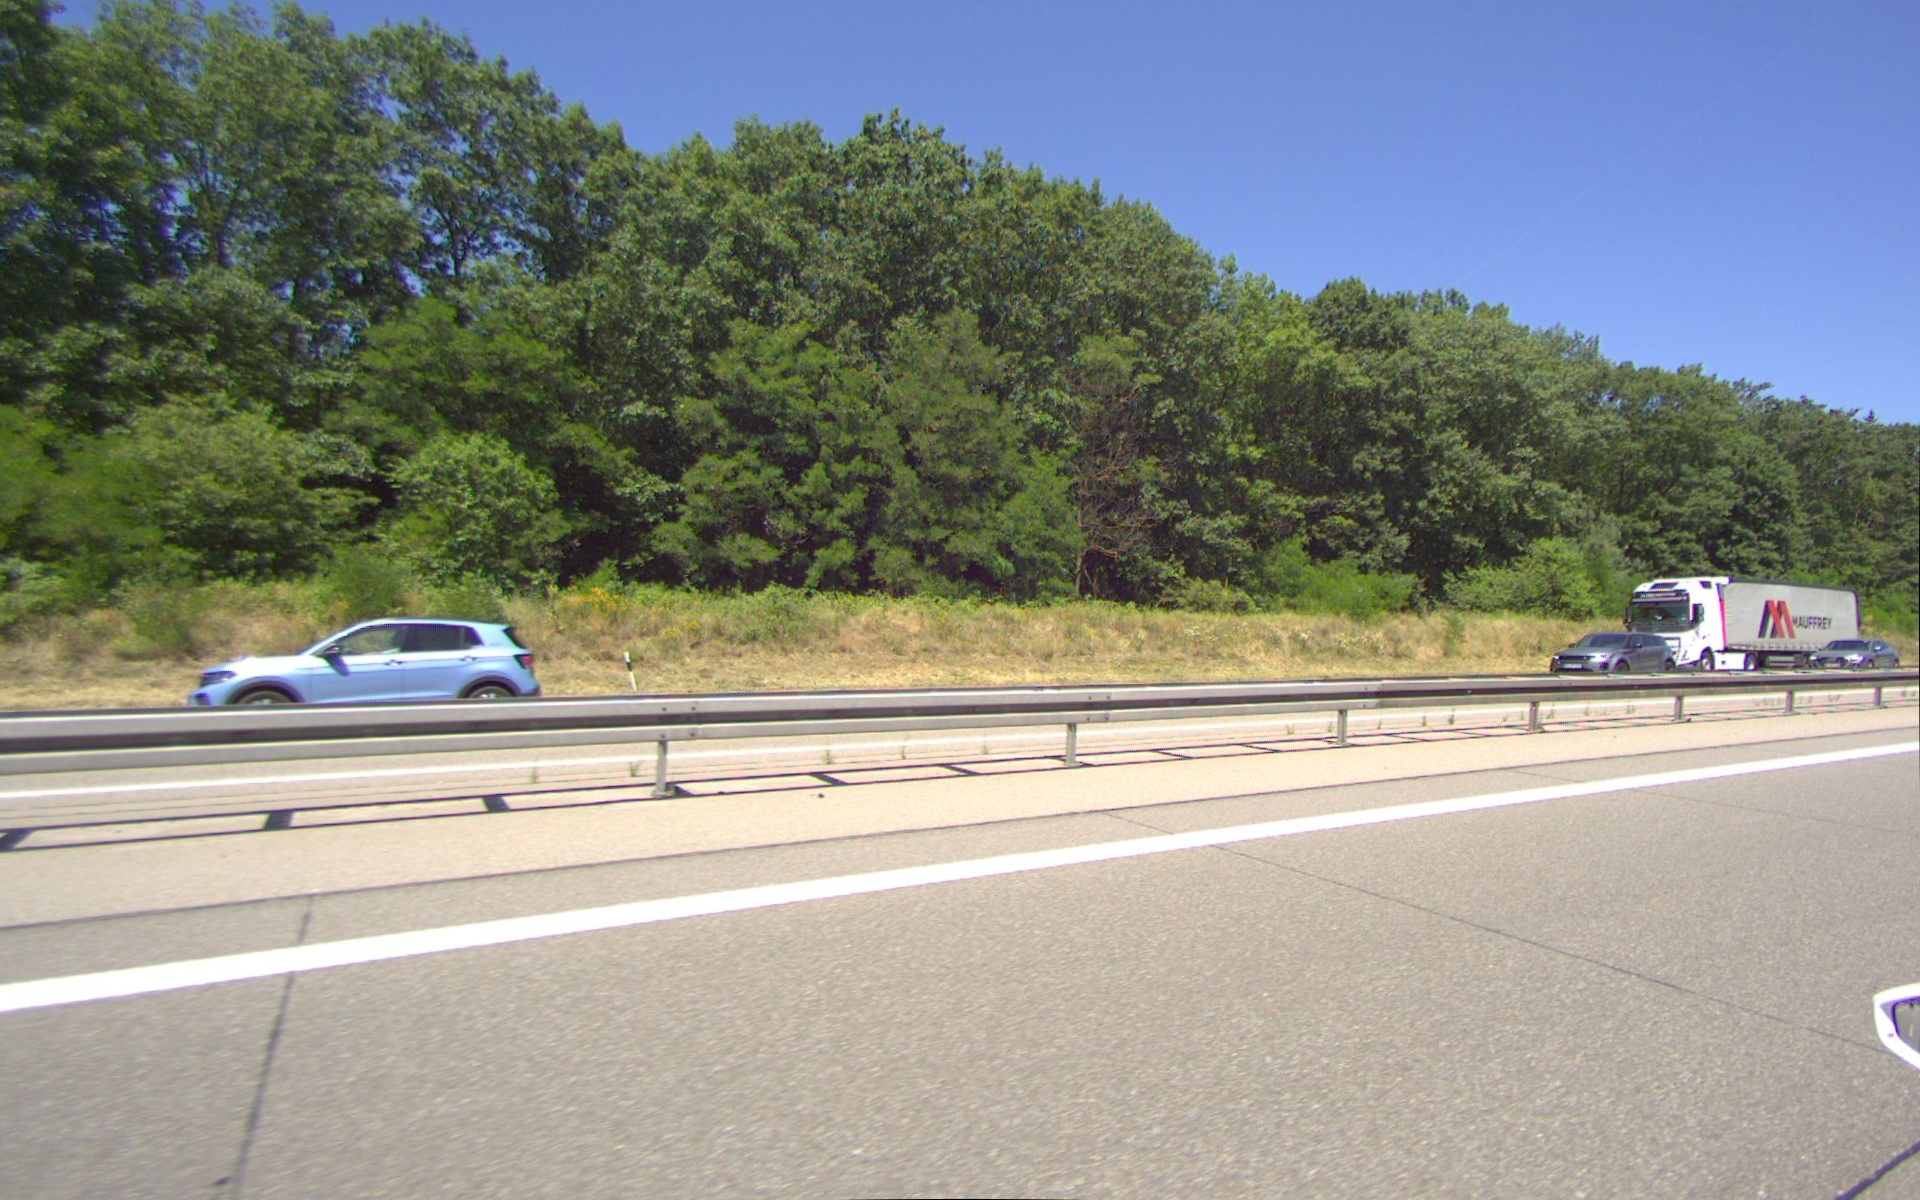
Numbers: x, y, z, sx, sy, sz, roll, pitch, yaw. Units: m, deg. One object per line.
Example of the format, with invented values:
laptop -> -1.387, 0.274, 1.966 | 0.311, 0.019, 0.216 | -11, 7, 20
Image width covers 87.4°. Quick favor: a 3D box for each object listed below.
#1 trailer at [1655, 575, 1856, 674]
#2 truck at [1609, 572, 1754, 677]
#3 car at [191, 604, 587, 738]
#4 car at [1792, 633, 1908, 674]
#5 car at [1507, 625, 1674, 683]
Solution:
trailer -> 36.538, 1.220, 45.884 | 12.811, 4.044, 2.897 | 2, -3, -31
truck -> 30.178, 1.080, 41.983 | 5.590, 4.120, 2.890 | 1, -3, -31
car -> -7.726, 0.945, 14.002 | 4.475, 1.588, 1.985 | 1, -3, -30
car -> 36.019, 2.154, 40.631 | 5.129, 1.588, 1.985 | 1, -3, -30
car -> 18.575, 1.572, 29.536 | 5.129, 1.588, 1.985 | 1, -3, -30
